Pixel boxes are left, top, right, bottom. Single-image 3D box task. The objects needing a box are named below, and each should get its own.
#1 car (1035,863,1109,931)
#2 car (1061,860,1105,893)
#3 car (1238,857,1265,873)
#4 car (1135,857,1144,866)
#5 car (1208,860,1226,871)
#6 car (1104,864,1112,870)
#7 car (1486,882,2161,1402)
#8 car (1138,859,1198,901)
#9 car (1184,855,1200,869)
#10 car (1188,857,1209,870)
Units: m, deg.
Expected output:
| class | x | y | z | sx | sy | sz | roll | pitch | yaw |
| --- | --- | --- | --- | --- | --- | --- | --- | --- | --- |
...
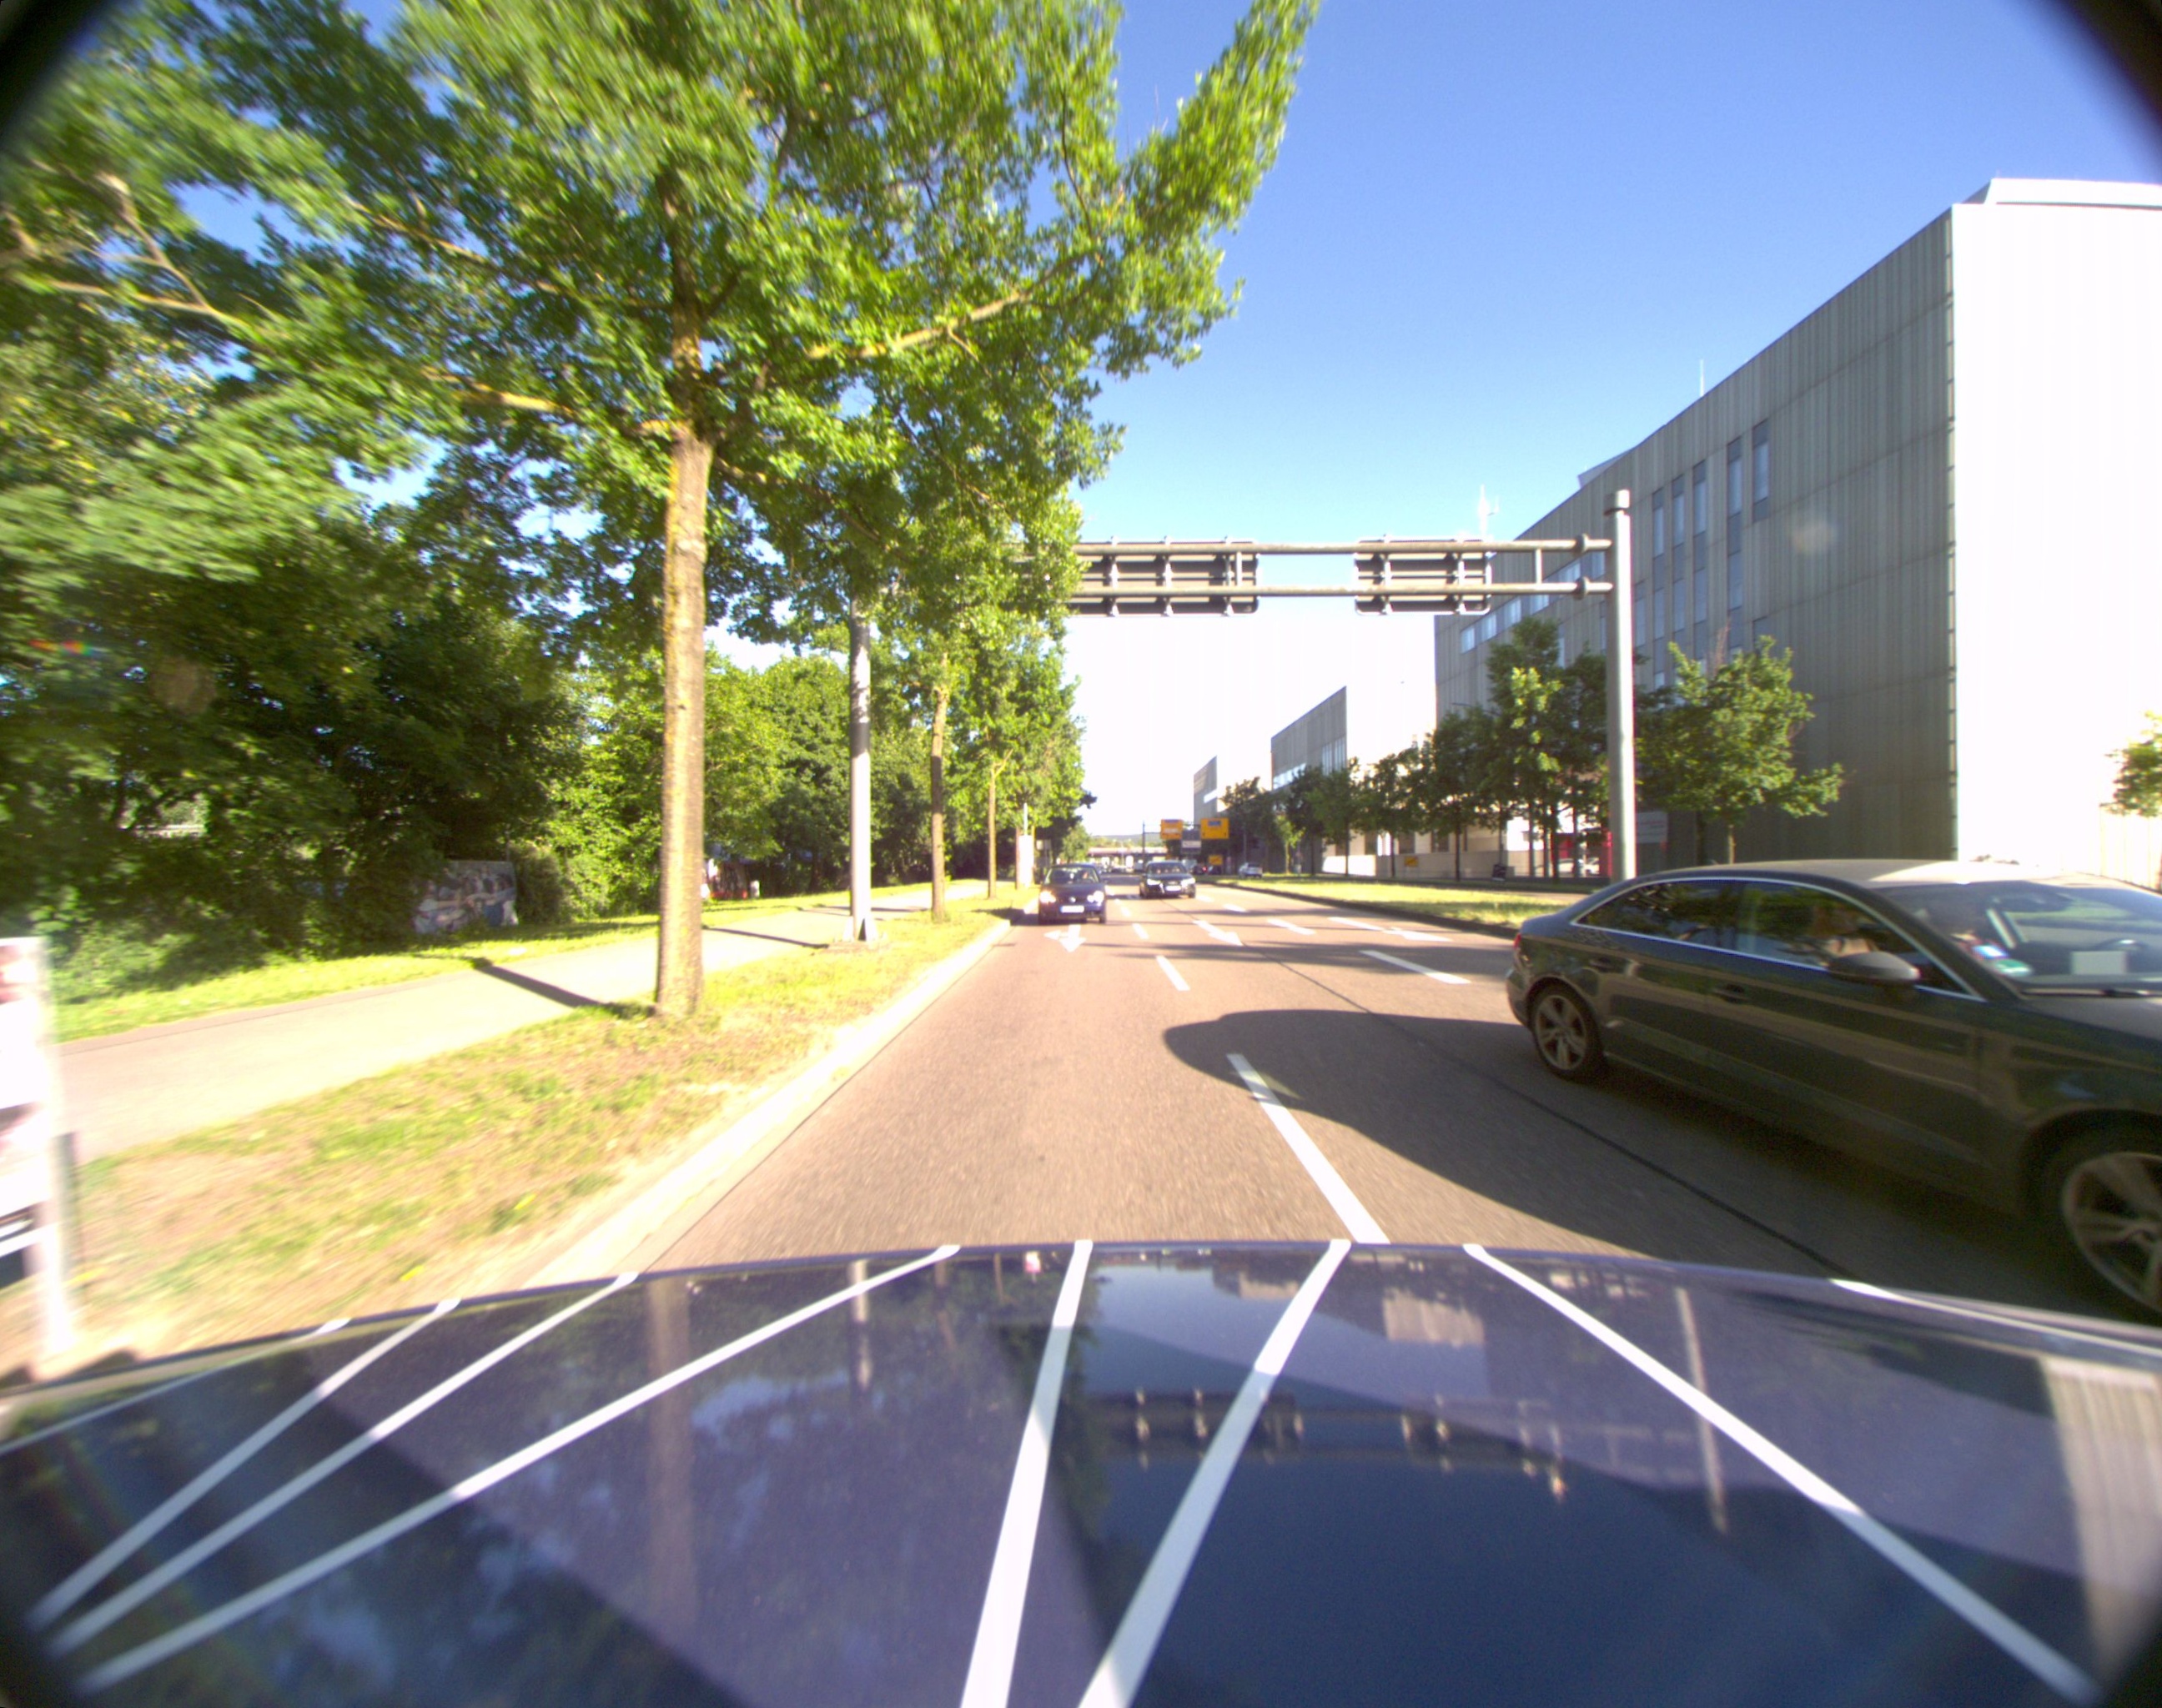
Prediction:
| class | x | y | z | sx | sy | sz | roll | pitch | yaw |
| --- | --- | --- | --- | --- | --- | --- | --- | --- | --- |
| car | -0.231 | 1.015 | 19.672 | 1.637 | 1.459 | 4.545 | -2 | 0 | -1 |
| car | 0.143 | 1.077 | 37.643 | 1.756 | 1.446 | 4.001 | -3 | 0 | 5 |
| car | 17.631 | 1.143 | 78.808 | 1.998 | 1.569 | 4.000 | -1 | 0 | 1 |
| car | 15.898 | 2.075 | 206.404 | 1.998 | 2.467 | 4.571 | -1 | 0 | 1 |
| car | 20.992 | 1.790 | 117.296 | 1.998 | 1.569 | 4.000 | -1 | 0 | 1 |
| car | 7.425 | 3.554 | 205.478 | 1.998 | 1.678 | 4.002 | 0 | 0 | 5 |
| car | 3.958 | 0.900 | 3.407 | 1.765 | 1.372 | 4.357 | -1 | 0 | -3 |
| car | 3.315 | 0.938 | 29.737 | 1.797 | 1.435 | 5.017 | -1 | 0 | 1 |
| car | 17.815 | 1.322 | 122.277 | 1.998 | 2.172 | 4.000 | -1 | 0 | 1 |
| car | 14.067 | 1.140 | 91.358 | 1.998 | 1.569 | 4.000 | -1 | 0 | 1 |
